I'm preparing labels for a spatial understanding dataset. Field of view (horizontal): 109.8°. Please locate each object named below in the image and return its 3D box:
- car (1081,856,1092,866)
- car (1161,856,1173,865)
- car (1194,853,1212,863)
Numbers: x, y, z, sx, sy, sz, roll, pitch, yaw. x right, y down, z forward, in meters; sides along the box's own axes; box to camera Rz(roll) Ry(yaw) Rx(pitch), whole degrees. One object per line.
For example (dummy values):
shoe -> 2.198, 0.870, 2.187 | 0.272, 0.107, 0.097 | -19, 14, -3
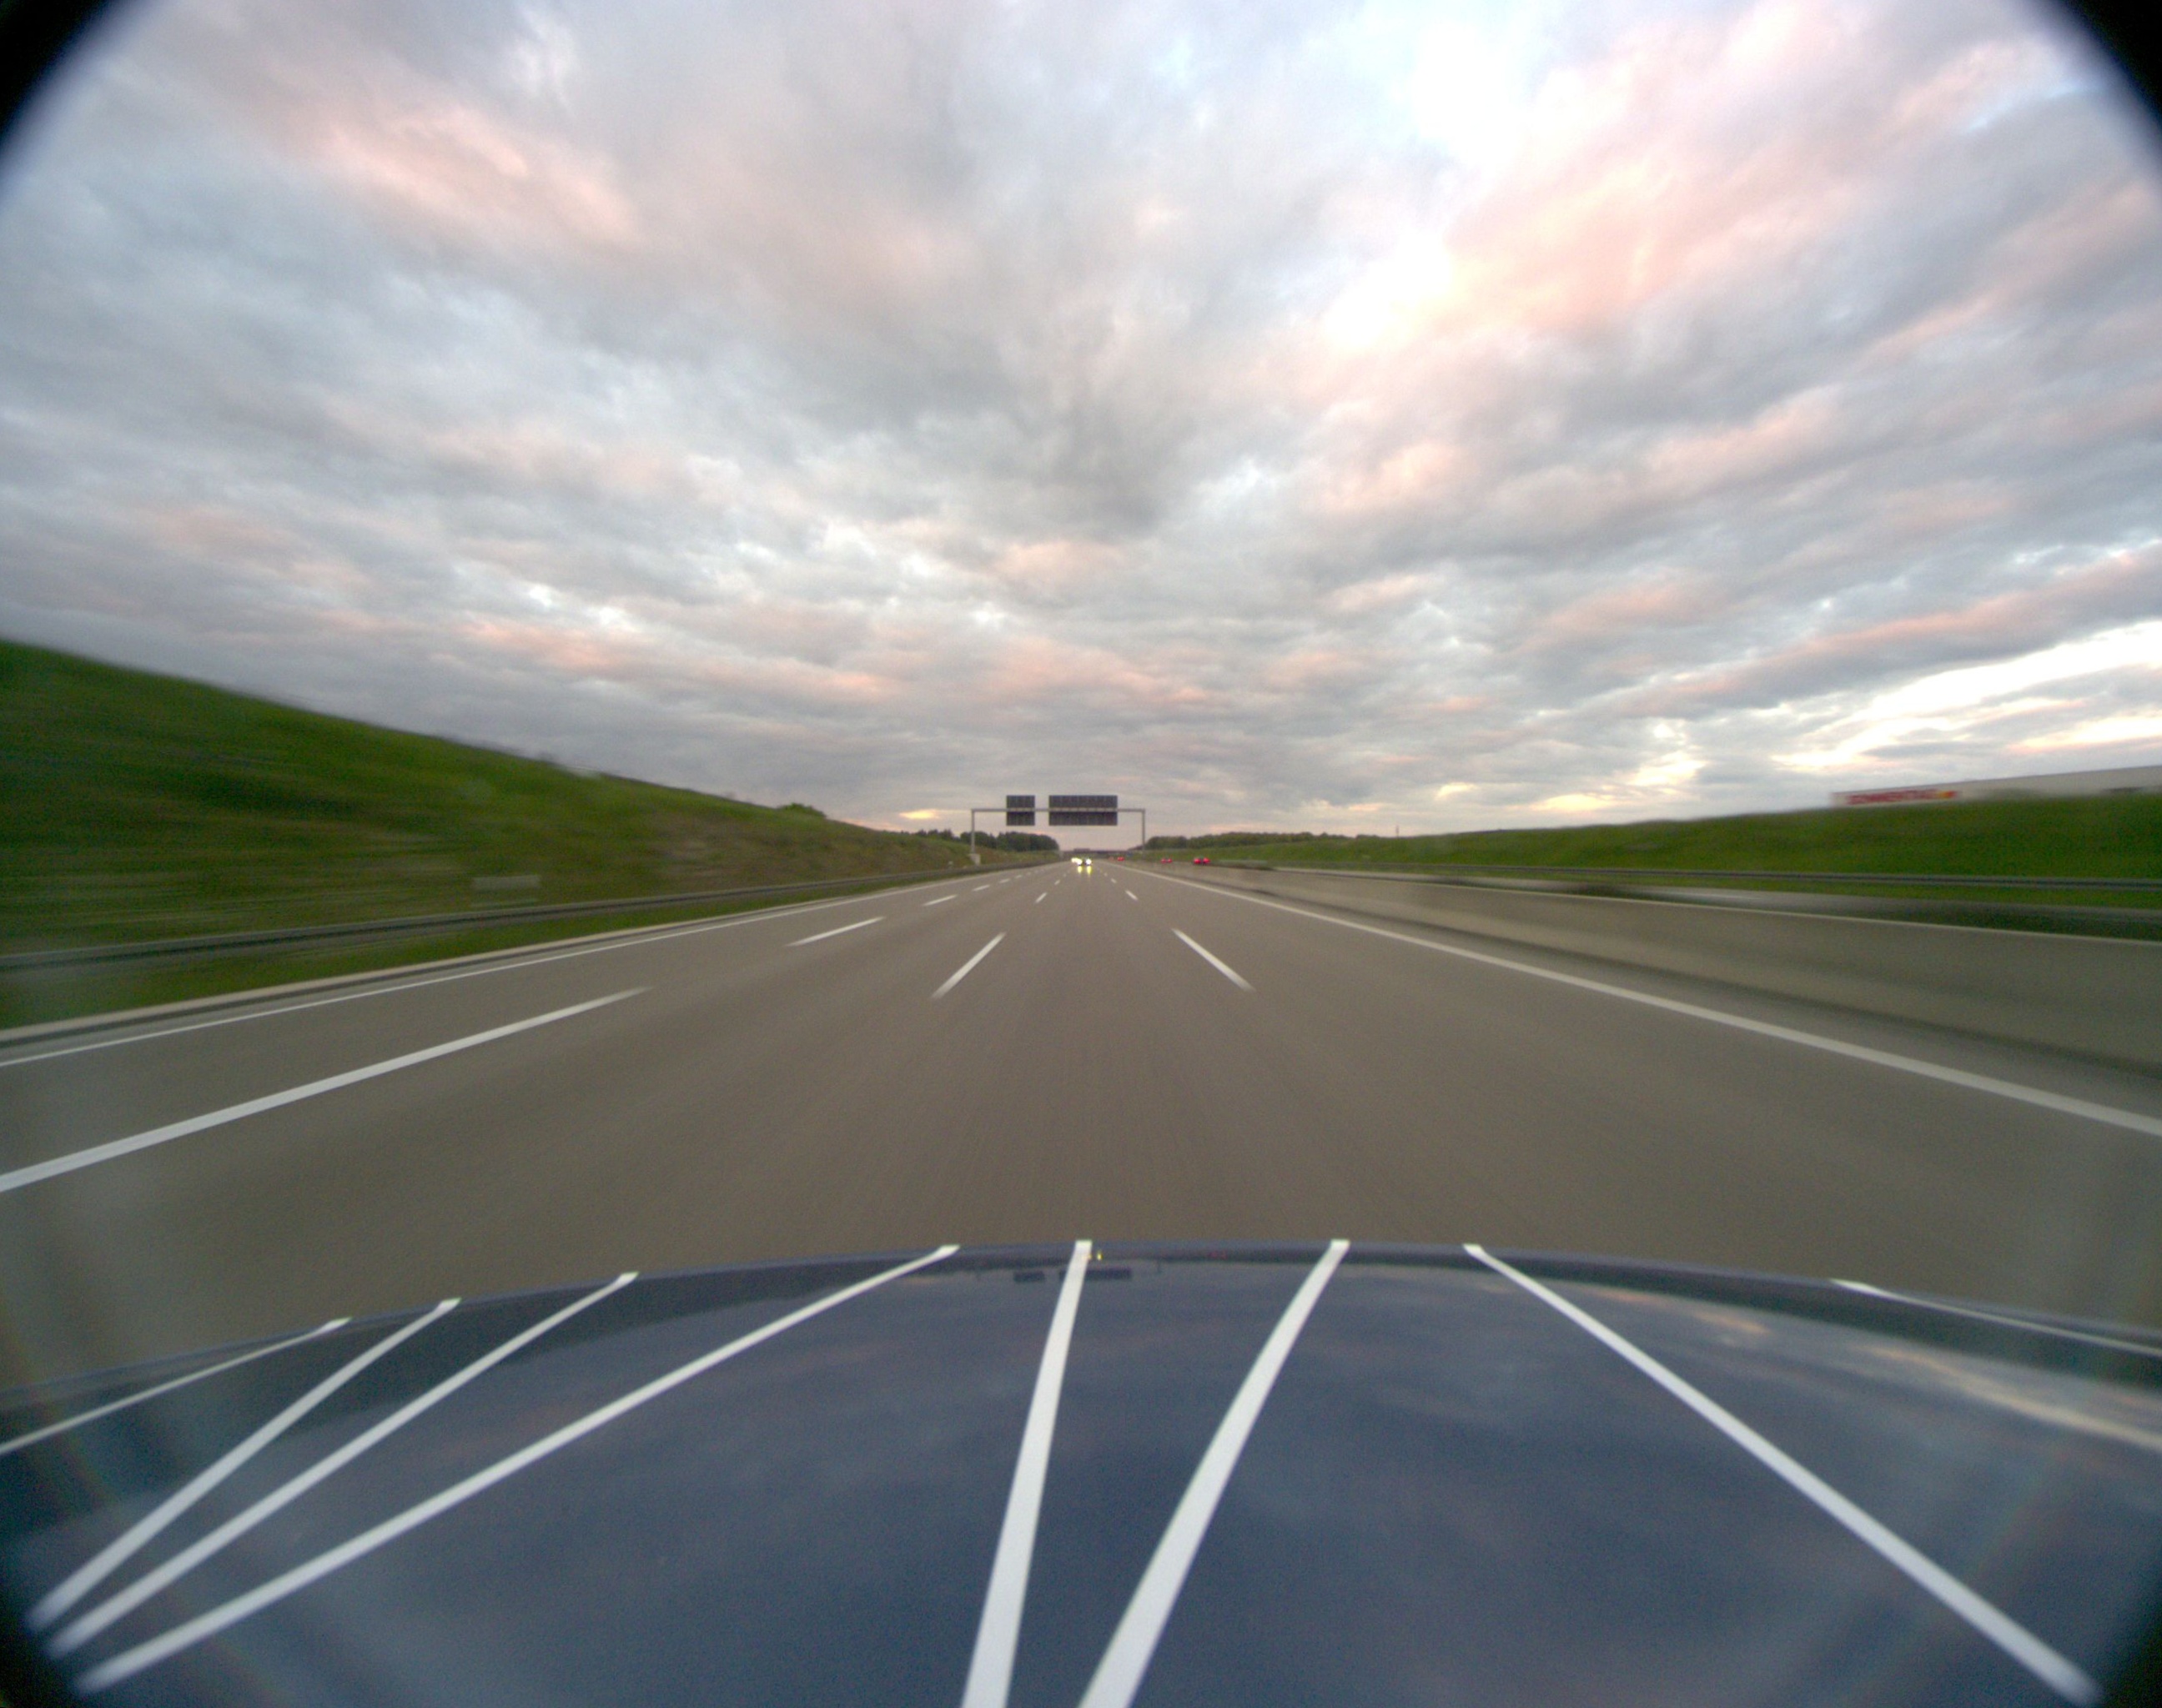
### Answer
car -> 0.977, 1.179, 128.116 | 1.801, 1.674, 4.385 | -1, 0, 1
car -> 16.282, 1.281, 144.048 | 1.824, 1.619, 4.000 | -1, 0, 2
car -> 19.951, 0.691, 124.766 | 1.999, 1.593, 5.199 | -1, 0, -1
